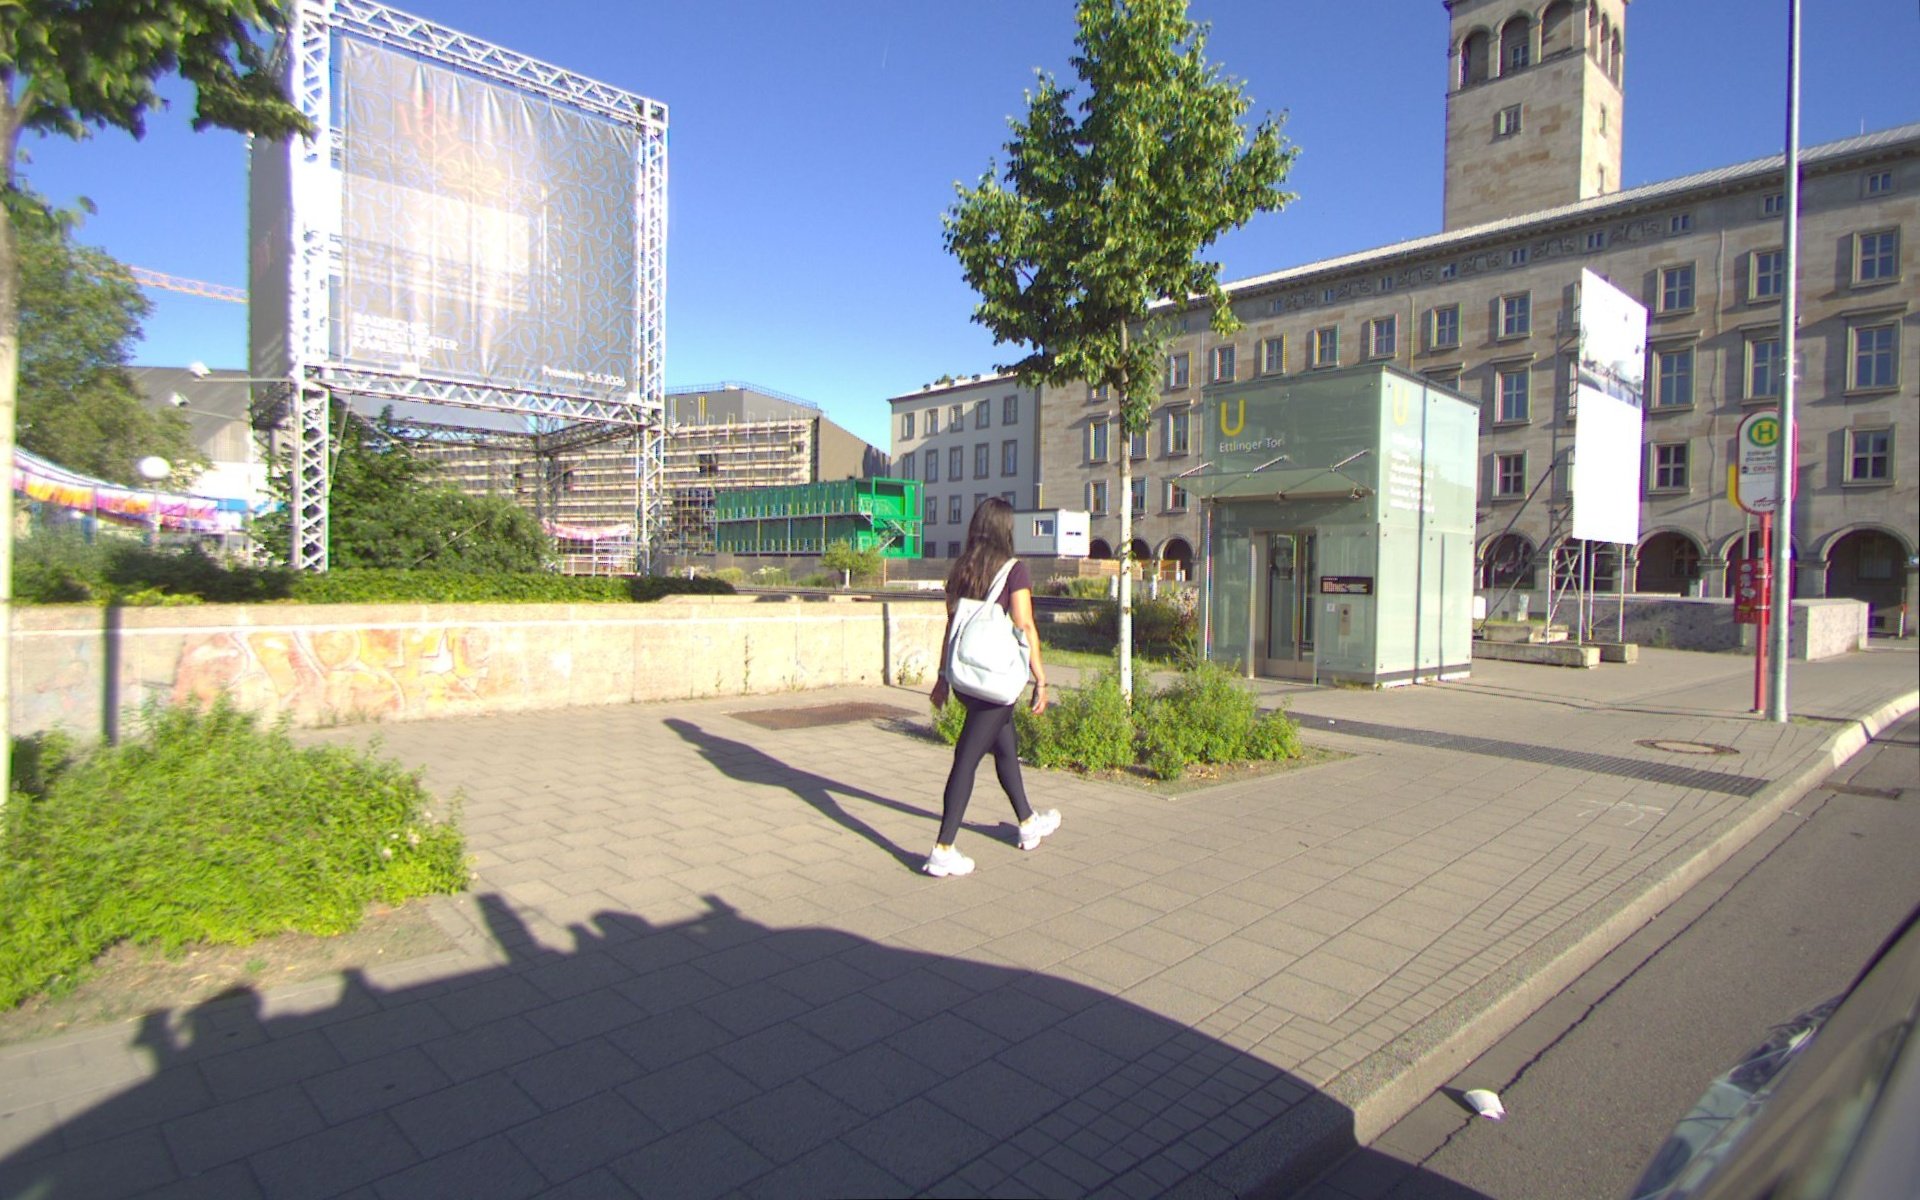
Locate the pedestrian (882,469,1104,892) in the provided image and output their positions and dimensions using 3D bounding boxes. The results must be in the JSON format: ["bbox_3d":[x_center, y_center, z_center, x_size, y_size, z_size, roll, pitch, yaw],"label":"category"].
[{"bbox_3d":[0.155,0.332,4.901,0.925,1.809,1.072,1,1,2],"label":"pedestrian"}]
